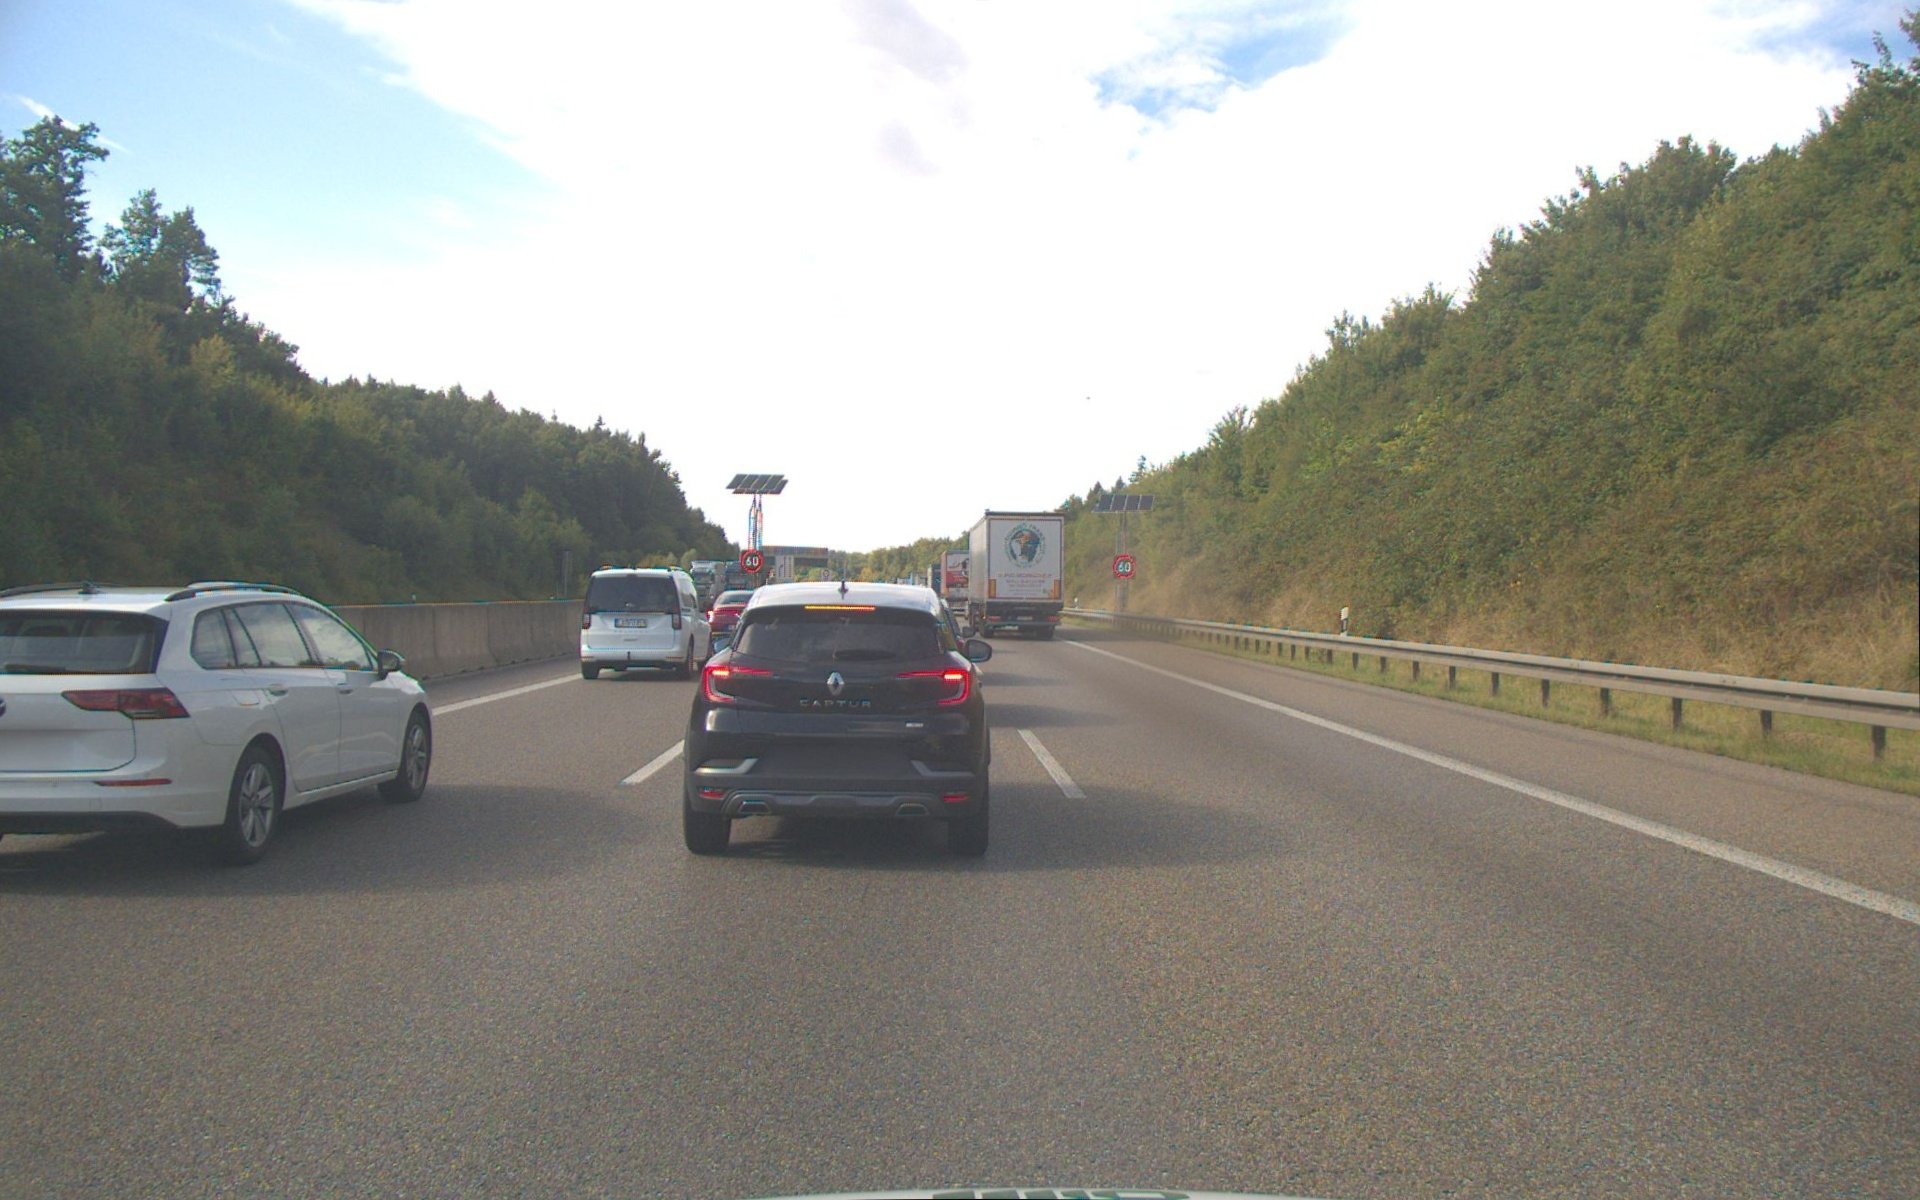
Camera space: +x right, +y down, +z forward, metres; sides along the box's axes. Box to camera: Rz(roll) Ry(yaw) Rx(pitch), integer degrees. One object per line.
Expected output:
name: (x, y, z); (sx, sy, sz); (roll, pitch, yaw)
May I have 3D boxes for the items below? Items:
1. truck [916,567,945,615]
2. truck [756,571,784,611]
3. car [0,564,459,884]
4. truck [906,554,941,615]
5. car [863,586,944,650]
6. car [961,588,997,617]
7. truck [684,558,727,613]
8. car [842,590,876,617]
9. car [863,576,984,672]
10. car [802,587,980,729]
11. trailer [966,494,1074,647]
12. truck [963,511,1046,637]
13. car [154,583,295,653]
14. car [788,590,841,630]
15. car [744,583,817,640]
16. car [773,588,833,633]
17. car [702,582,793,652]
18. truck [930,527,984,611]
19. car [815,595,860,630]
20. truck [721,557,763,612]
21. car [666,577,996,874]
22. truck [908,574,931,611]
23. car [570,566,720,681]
truck: (-3.592, -1.065, 203.155); (3.101, 5.601, 12.738); (1, 0, 1)
truck: (-25.348, -1.164, 221.346); (2.832, 5.182, 10.077); (1, 0, -2)
car: (-4.537, 0.582, 9.878); (1.768, 1.486, 4.308); (0, 0, 0)
truck: (-3.428, -1.439, 159.608); (3.102, 5.601, 12.735); (1, 0, -1)
car: (-1.412, 0.448, 42.590); (1.953, 1.540, 3.999); (1, 0, -1)
car: (1.047, 0.159, 92.283); (1.768, 1.559, 3.924); (1, 0, -2)
truck: (-24.881, -1.386, 162.356); (2.832, 5.182, 10.077); (1, 0, -2)
car: (-6.362, 0.209, 104.348); (1.953, 1.641, 3.999); (1, 0, -1)
car: (-0.624, 0.399, 29.016); (1.953, 1.540, 3.999); (1, 0, -1)
car: (-0.791, 0.653, 20.354); (1.953, 1.540, 3.999); (1, 0, -1)
trailer: (1.902, -0.956, 58.494); (2.941, 4.742, 13.286); (1, 0, -2)
truck: (1.704, -0.995, 65.597); (2.936, 4.749, 5.937); (0, 0, -2)
car: (-20.519, 0.468, 46.377); (1.815, 1.841, 4.923); (1, 0, -2)
car: (-6.181, 0.430, 70.826); (1.953, 1.641, 3.999); (1, 0, -1)
car: (-5.773, 0.360, 53.658); (1.953, 1.752, 3.999); (1, 0, -1)
car: (-5.984, 0.400, 63.296); (1.953, 1.641, 3.999); (1, 0, -1)
car: (-5.405, 0.427, 42.524); (1.818, 1.669, 3.925); (1, 0, 0)
truck: (-0.237, -1.885, 107.883); (3.296, 5.132, 12.735); (1, 0, -1)
car: (-5.976, 0.568, 80.994); (1.953, 1.641, 3.999); (1, 0, -1)
truck: (-20.466, -1.431, 155.648); (2.832, 5.021, 10.077); (1, 0, -2)
car: (-0.654, 0.671, 10.871); (1.767, 1.579, 4.000); (0, 0, 1)
truck: (-5.763, -1.017, 237.477); (3.102, 5.250, 12.735); (1, 0, -1)
car: (-5.341, 0.384, 28.599); (1.873, 1.821, 4.415); (1, 0, -2)
